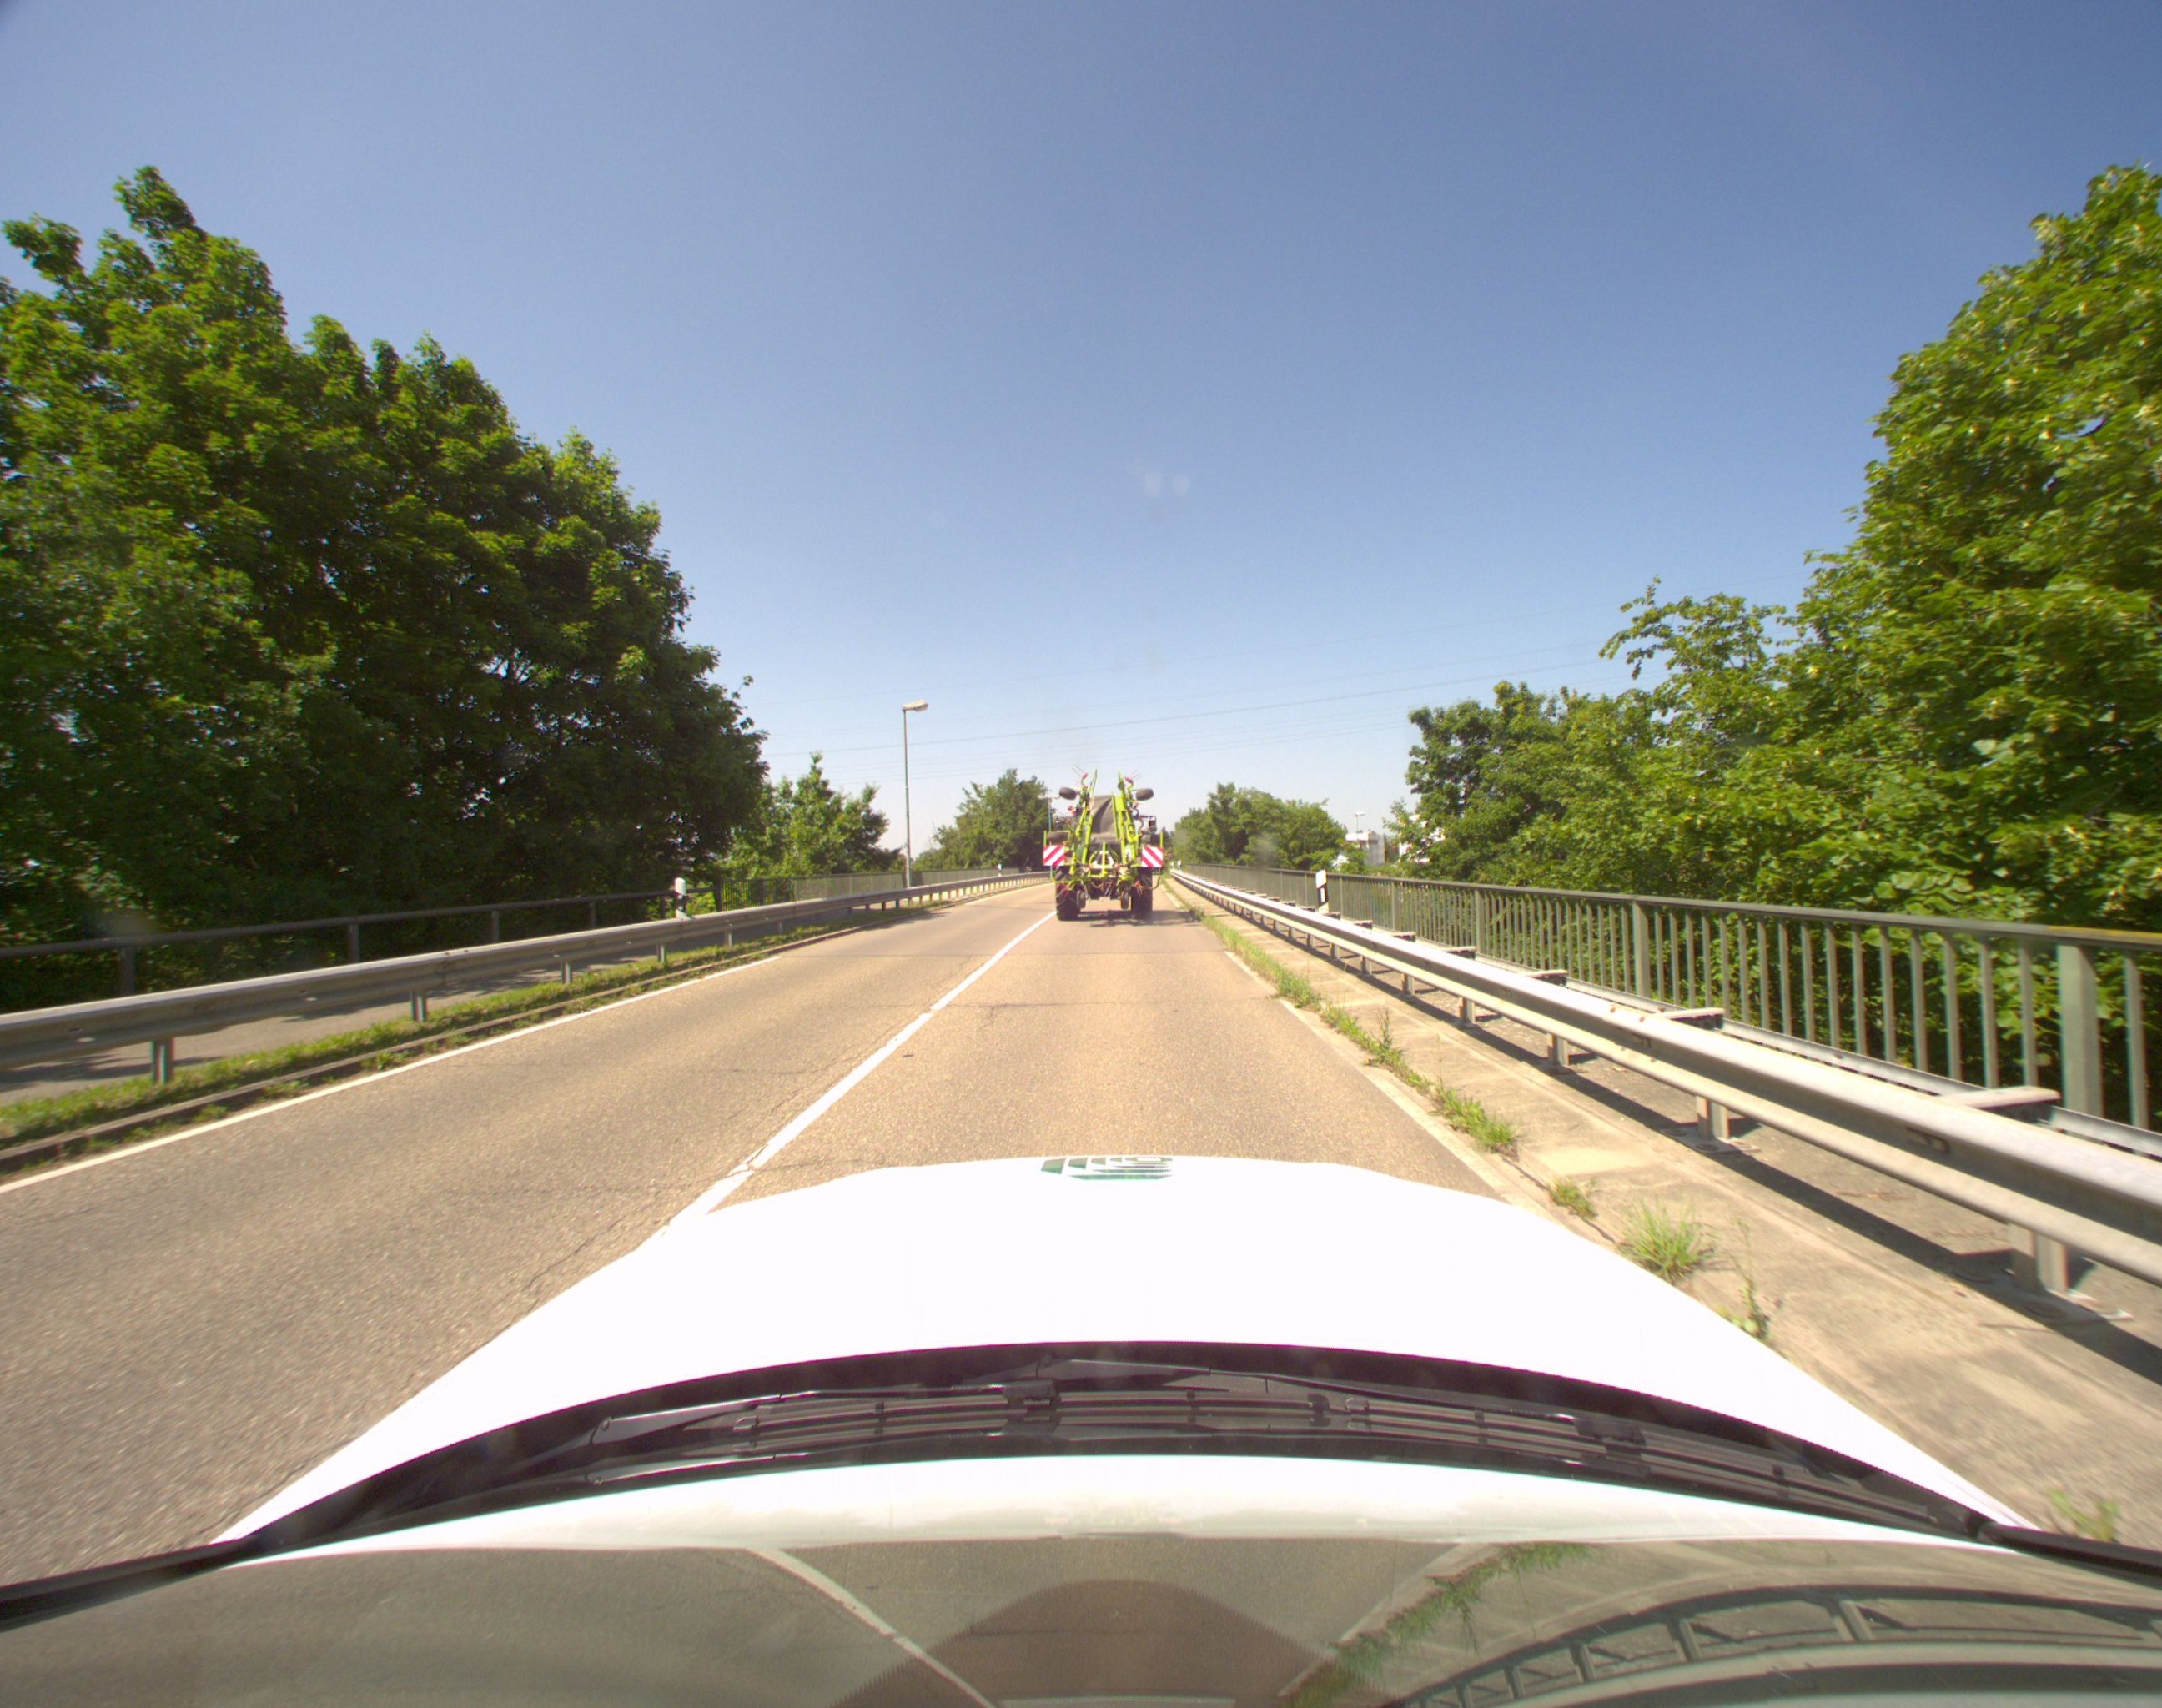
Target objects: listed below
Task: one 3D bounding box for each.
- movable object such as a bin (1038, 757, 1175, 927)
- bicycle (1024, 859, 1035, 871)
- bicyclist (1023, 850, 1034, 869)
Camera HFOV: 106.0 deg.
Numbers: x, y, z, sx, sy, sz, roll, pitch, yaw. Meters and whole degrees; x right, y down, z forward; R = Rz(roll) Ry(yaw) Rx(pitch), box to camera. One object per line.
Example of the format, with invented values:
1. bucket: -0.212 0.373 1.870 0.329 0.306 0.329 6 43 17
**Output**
1. movable object such as a bin: 0.581 -0.265 19.687 2.745 3.444 5.671 -1 0 1
2. bicycle: -4.510 0.932 71.215 0.674 1.001 2.120 -3 0 2
3. bicyclist: -4.575 0.479 71.167 0.762 1.633 0.896 -3 0 3
